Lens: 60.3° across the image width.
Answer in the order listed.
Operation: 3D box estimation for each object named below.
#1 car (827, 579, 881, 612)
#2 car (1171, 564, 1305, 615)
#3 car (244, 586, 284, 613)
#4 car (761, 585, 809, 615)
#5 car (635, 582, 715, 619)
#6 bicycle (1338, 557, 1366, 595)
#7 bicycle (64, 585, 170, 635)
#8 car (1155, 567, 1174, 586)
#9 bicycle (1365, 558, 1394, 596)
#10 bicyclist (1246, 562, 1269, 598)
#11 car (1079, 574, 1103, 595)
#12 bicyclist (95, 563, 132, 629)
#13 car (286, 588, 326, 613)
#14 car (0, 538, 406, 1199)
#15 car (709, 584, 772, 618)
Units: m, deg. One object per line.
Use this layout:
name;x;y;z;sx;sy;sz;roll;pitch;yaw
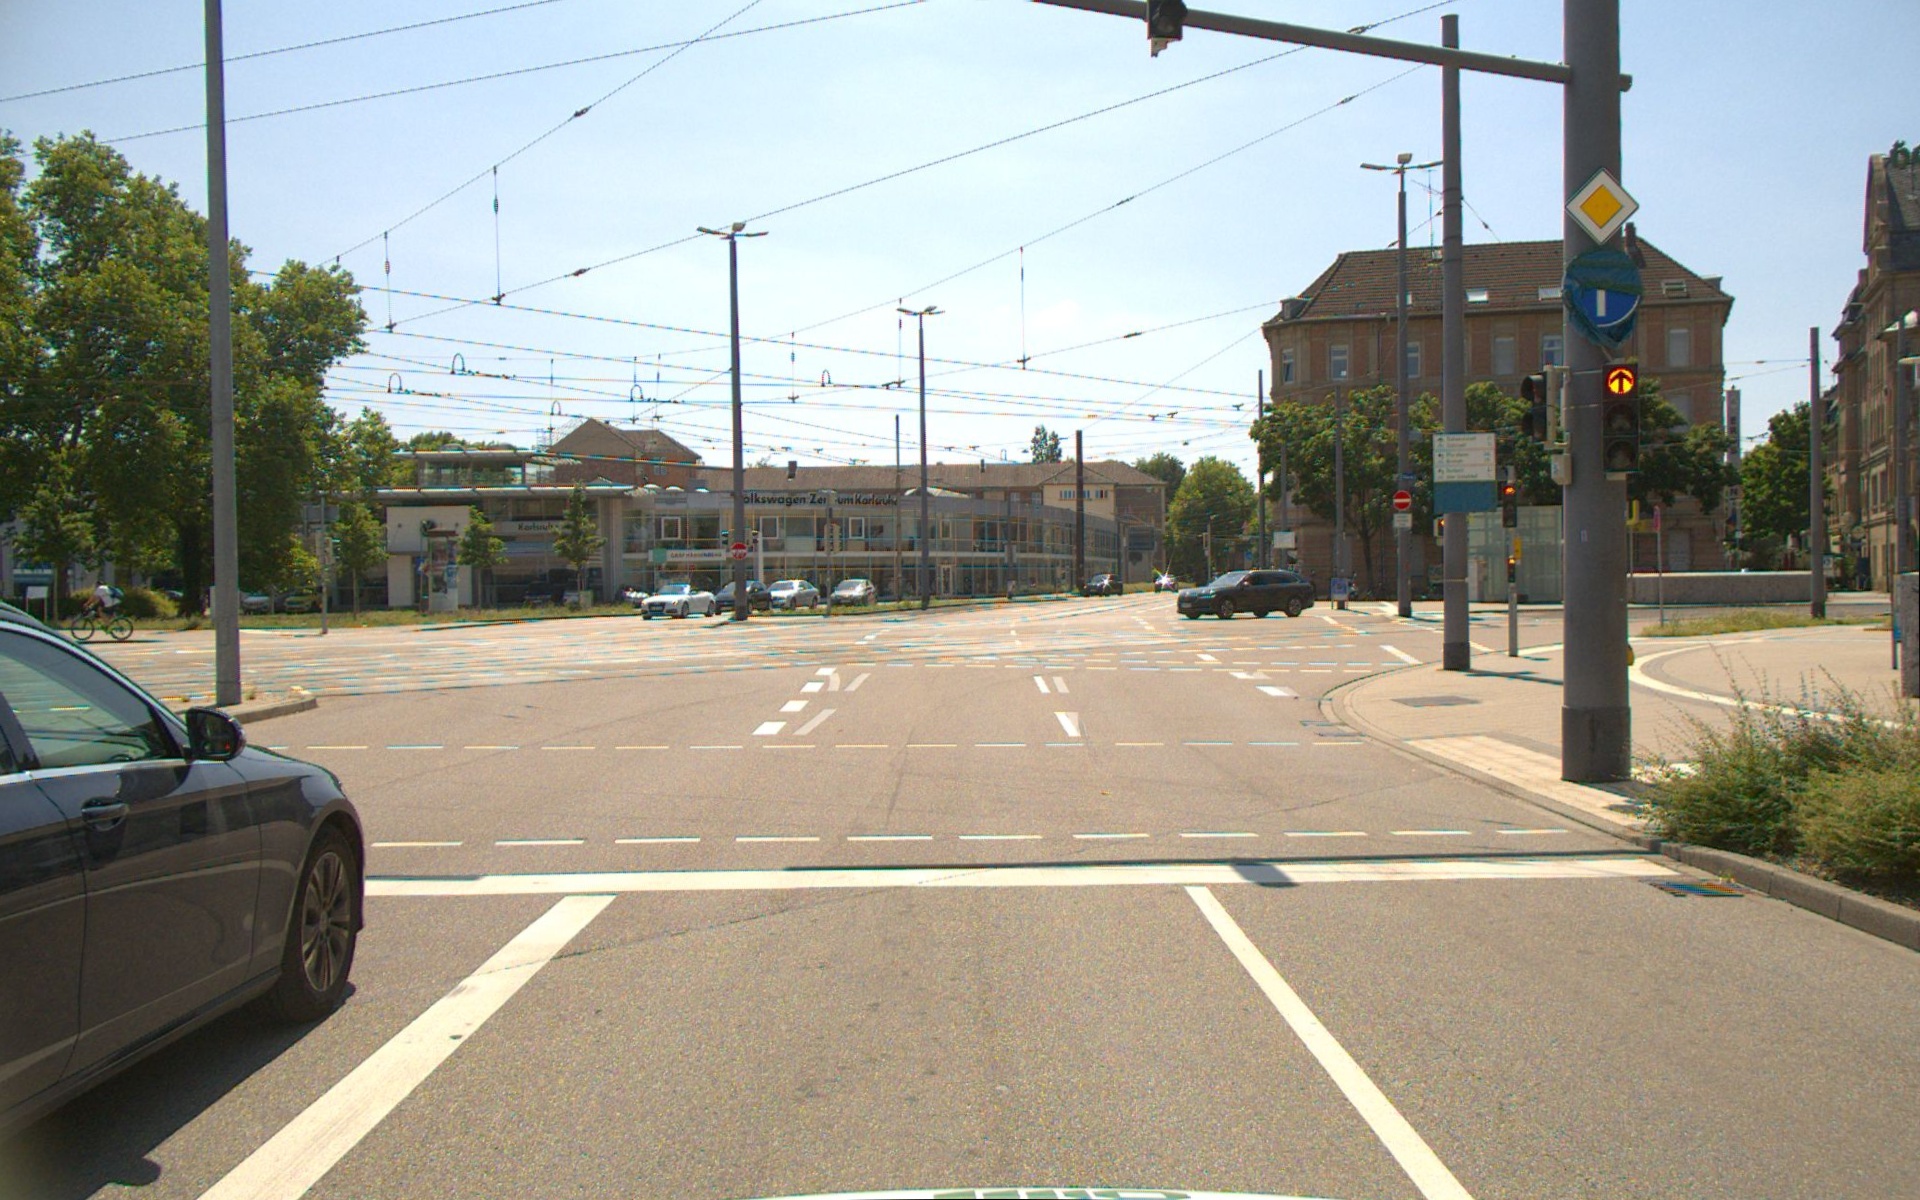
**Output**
car;-5.160;-0.251;81.145;1.537;1.452;3.616;1;3;16
car;8.817;-0.358;52.373;4.055;1.476;1.682;-1;3;-29
car;-43.736;-0.054;103.924;1.397;1.534;3.434;0;3;-7
car;-8.383;-0.011;79.529;1.401;1.307;3.265;1;3;11
car;-11.581;0.003;67.445;1.585;1.414;4.127;-1;1;15
bicycle;19.863;-1.248;83.921;0.599;1.819;3.181;0;2;-1
bicycle;-25.366;0.299;49.794;2.769;1.488;0.633;0;2;-4
car;18.241;-2.091;147.202;1.551;1.555;3.719;0;3;9
bicycle;21.269;-1.168;83.875;0.599;1.819;3.181;0;2;-1
bicyclist;12.560;-0.851;69.792;0.721;1.505;0.652;-1;2;-20
car;9.895;-1.169;124.728;1.498;1.484;3.556;0;3;10
bicyclist;-25.481;-0.126;49.793;0.748;1.971;0.660;0;2;-3
car;-40.933;0.030;103.555;1.481;1.443;3.416;0;3;-7
car;-2.876;0.667;3.910;1.682;1.584;4.585;-1;0;-2
car;-9.739;0.026;73.675;1.505;1.300;3.542;1;3;16
